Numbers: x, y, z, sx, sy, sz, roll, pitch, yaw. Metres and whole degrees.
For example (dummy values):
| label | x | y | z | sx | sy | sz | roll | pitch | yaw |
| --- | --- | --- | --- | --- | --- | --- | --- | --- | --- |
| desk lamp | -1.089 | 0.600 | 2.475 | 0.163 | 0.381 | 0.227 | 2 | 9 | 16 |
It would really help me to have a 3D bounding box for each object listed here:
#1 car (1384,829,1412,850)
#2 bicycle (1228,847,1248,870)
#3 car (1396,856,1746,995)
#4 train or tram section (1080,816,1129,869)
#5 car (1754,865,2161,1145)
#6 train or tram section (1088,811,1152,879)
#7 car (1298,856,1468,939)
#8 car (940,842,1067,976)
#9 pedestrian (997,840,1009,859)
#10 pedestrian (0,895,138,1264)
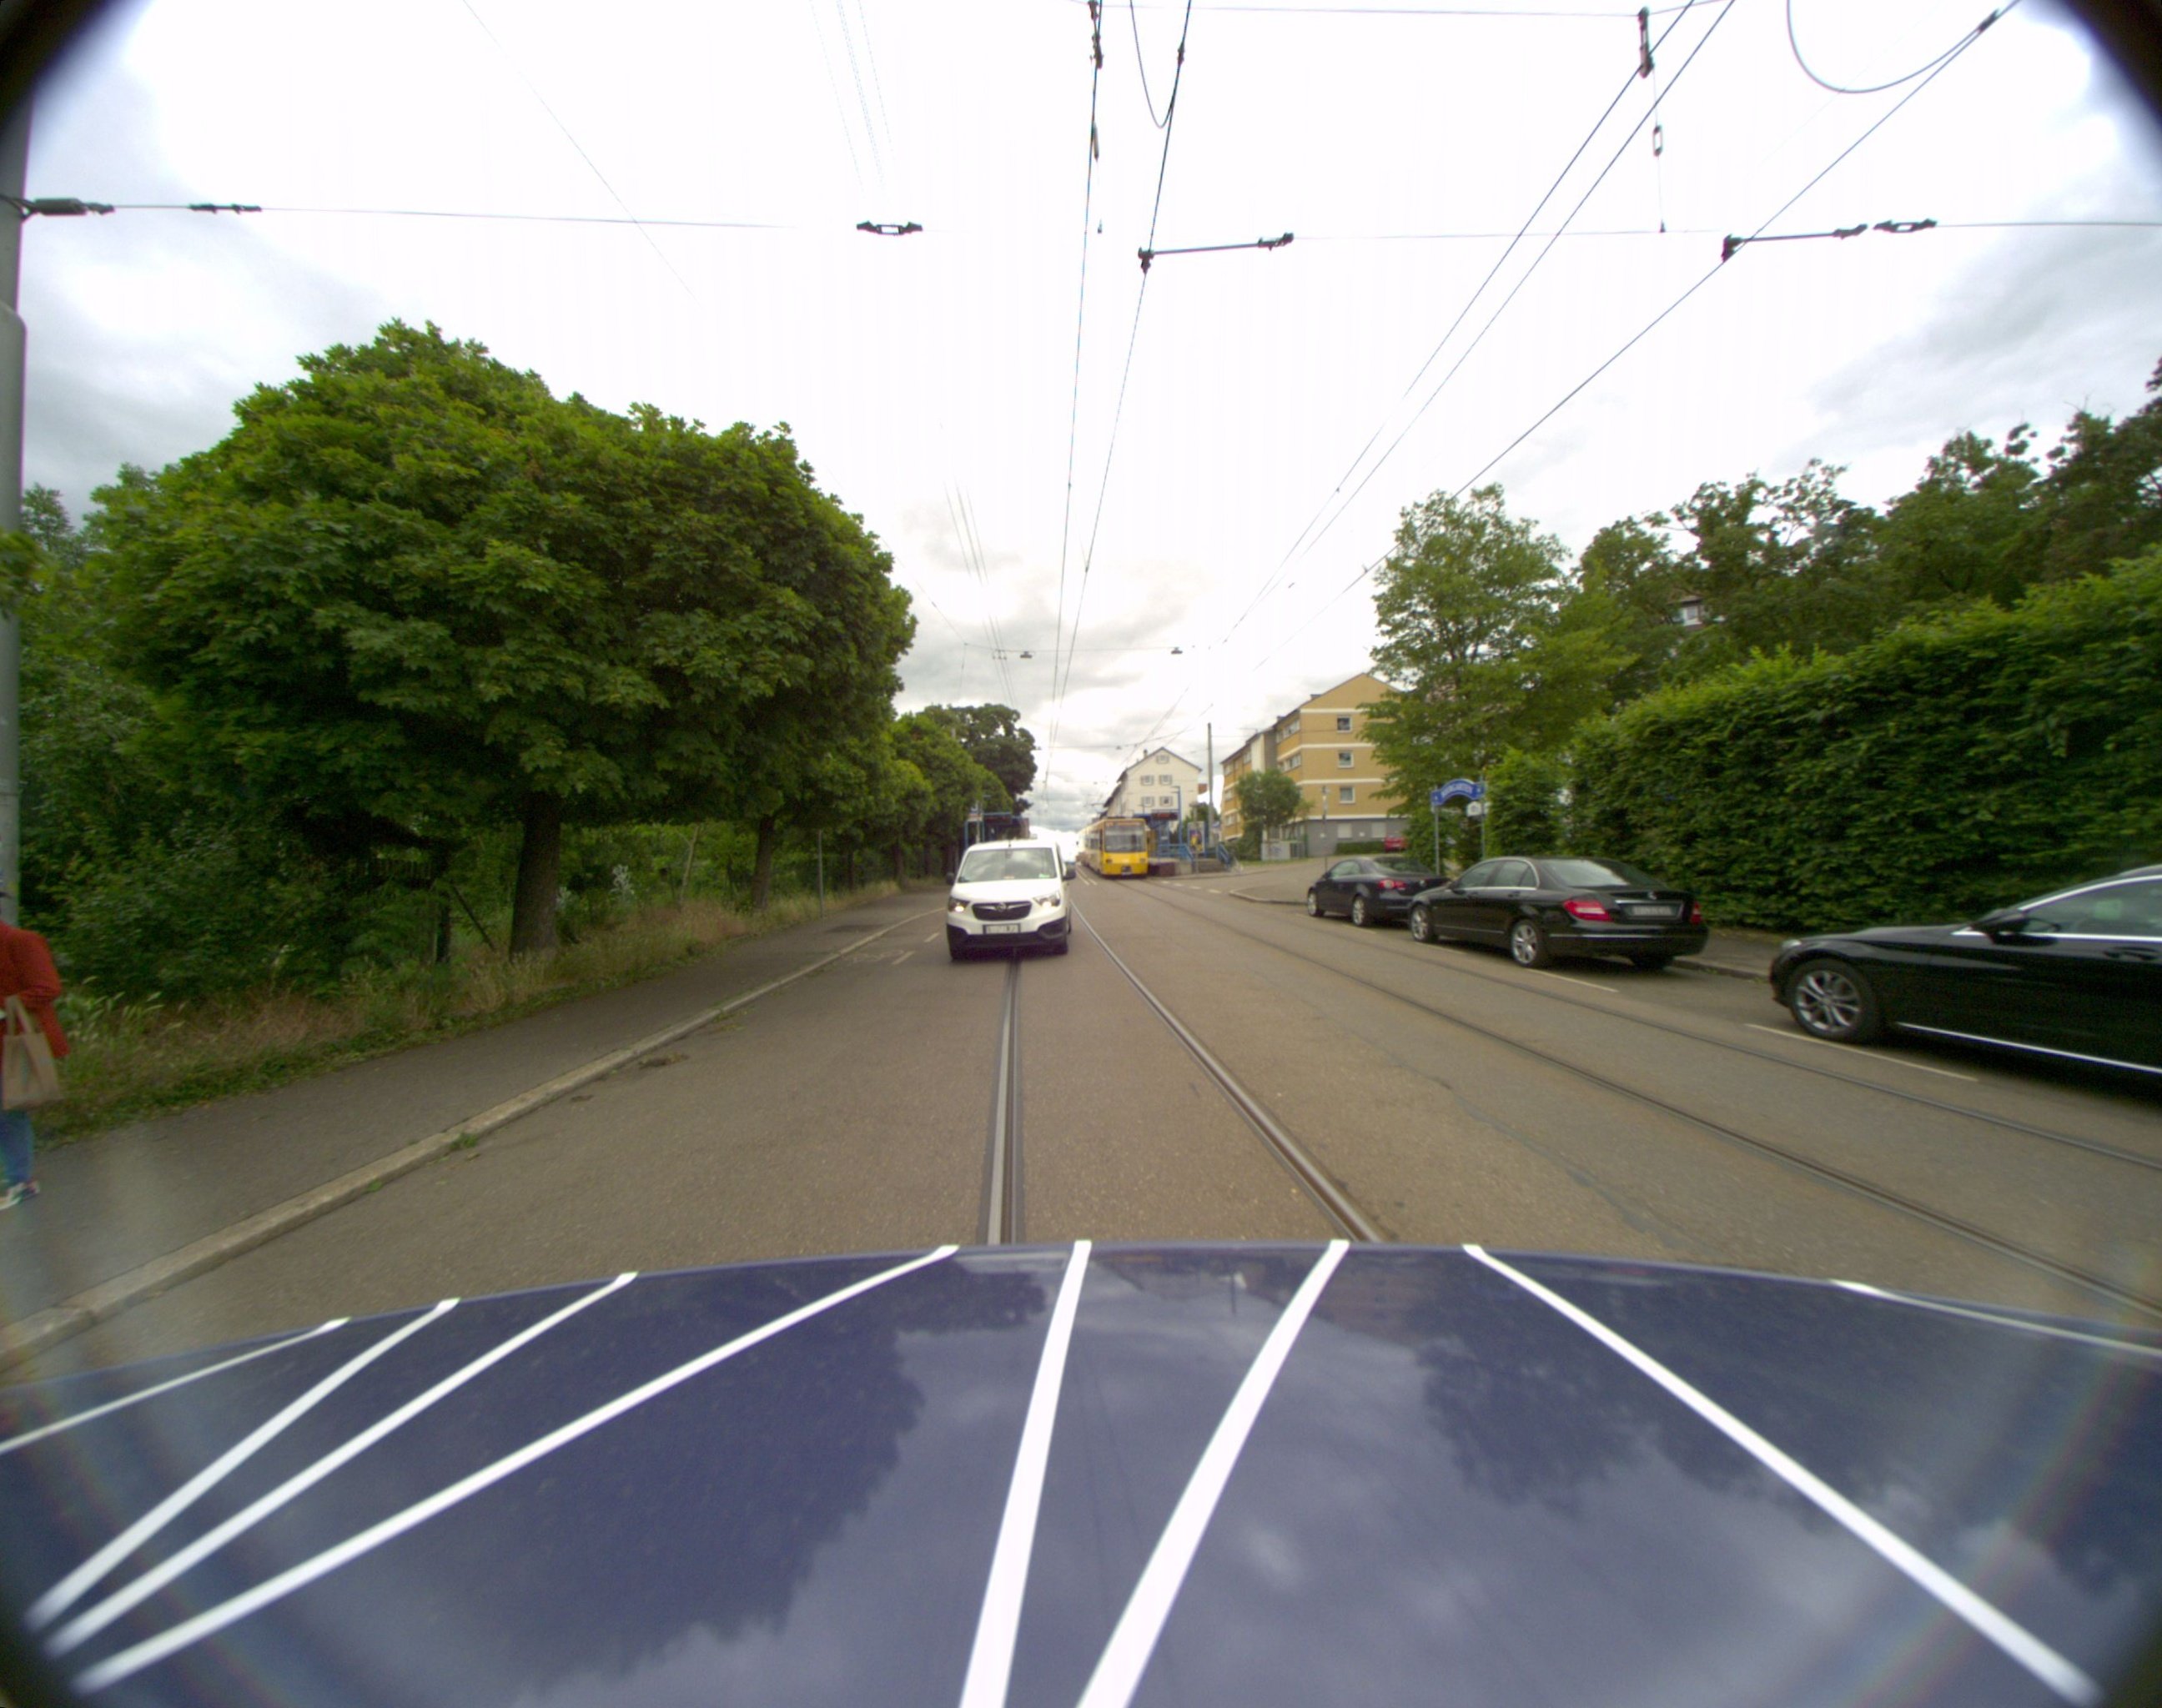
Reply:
| label | x | y | z | sx | sy | sz | roll | pitch | yaw |
| --- | --- | --- | --- | --- | --- | --- | --- | --- | --- |
| car | 22.927 | -1.050 | 54.931 | 1.838 | 1.456 | 4.006 | -1 | 1 | 23 |
| bicycle | 8.525 | 0.244 | 41.211 | 0.713 | 1.174 | 1.487 | -1 | 2 | -2 |
| car | 6.335 | 0.789 | 10.599 | 1.845 | 1.379 | 4.437 | -1 | 2 | -3 |
| train or tram section | 1.643 | -0.890 | 59.550 | 2.831 | 3.616 | 12.124 | -2 | 1 | -3 |
| car | 6.696 | 0.852 | 4.168 | 1.845 | 1.379 | 4.515 | -1 | 2 | -3 |
| train or tram section | 2.168 | -0.603 | 47.384 | 2.857 | 3.616 | 12.125 | -2 | 1 | -2 |
| car | 6.200 | 0.817 | 16.170 | 1.795 | 1.396 | 4.159 | -1 | 2 | -3 |
| car | -1.130 | 0.754 | 12.935 | 1.730 | 1.850 | 4.419 | -2 | 1 | -1 |
| pedestrian | -5.548 | -0.309 | 54.142 | 0.781 | 1.307 | 0.656 | -2 | 1 | -2 |
| pedestrian | -5.198 | 1.030 | 3.495 | 0.716 | 1.611 | 0.718 | -2 | 1 | -2 |
